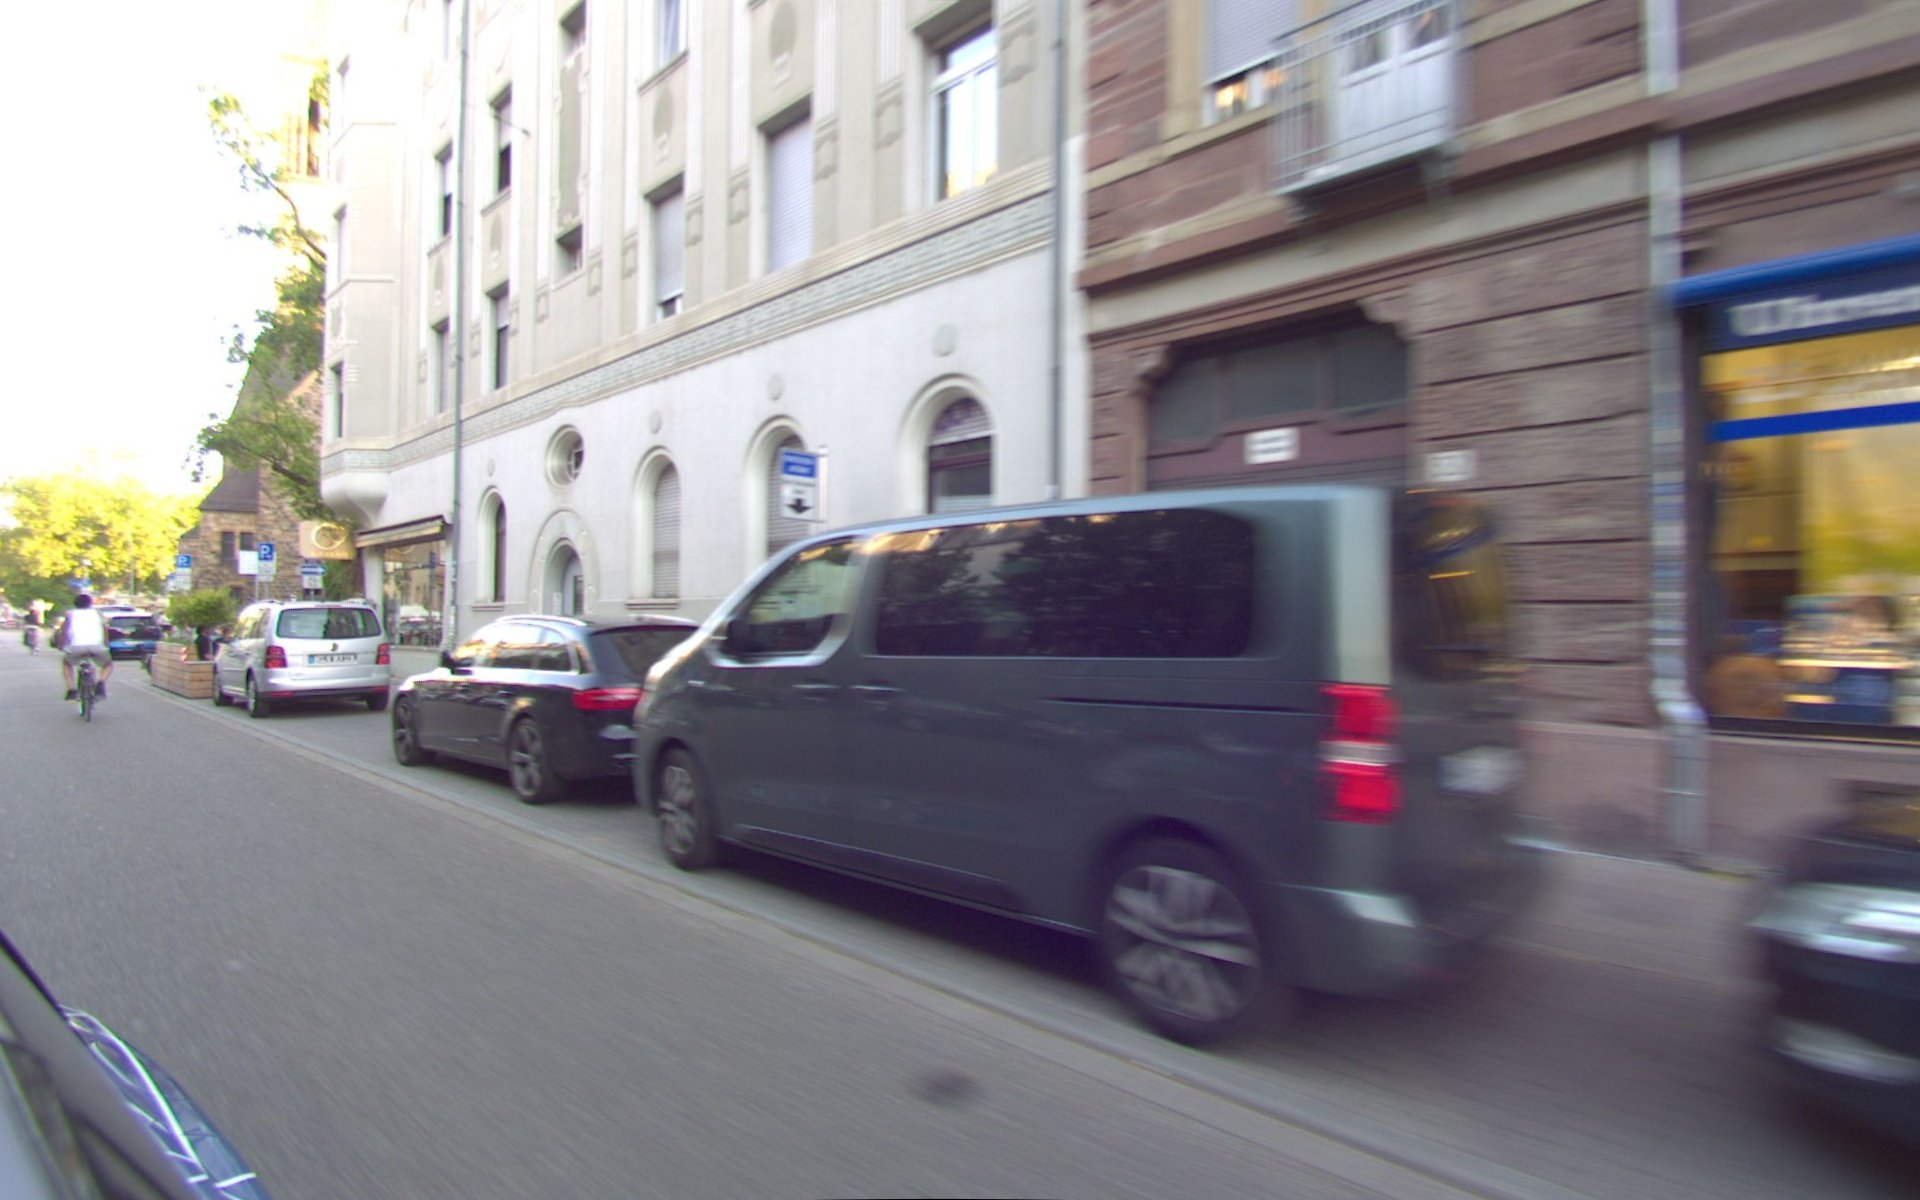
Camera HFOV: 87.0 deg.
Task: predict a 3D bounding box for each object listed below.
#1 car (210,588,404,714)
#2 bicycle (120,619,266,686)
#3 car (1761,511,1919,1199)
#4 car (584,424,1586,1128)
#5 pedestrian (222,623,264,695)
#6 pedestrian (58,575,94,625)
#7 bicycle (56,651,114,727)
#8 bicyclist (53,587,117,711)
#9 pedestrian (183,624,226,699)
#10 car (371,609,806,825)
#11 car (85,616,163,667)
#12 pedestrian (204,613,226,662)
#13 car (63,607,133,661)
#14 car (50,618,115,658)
[{"bbox_3d":[-10.015,0.705,15.394,1.706,1.660,3.919,0,-1,-45],"label":"car"},{"bbox_3d":[-17.285,1.162,22.888,2.579,1.409,0.603,0,0,-32],"label":"bicycle"},{"bbox_3d":[3.940,0.595,1.587,1.904,1.608,3.973,1,-2,-43],"label":"car"},{"bbox_3d":[0.121,0.519,5.143,4.907,1.897,1.905,-1,-2,44],"label":"car"},{"bbox_3d":[-13.696,1.110,19.333,0.496,1.333,0.563,-1,0,44],"label":"pedestrian"},{"bbox_3d":[-49.012,0.000,56.102,1.012,2.761,1.425,-1,0,44],"label":"pedestrian"},{"bbox_3d":[-12.558,1.238,14.503,1.896,0.951,0.470,0,0,44],"label":"bicycle"},{"bbox_3d":[-12.509,0.677,14.460,1.004,1.705,0.615,-1,0,44],"label":"bicyclist"},{"bbox_3d":[-13.799,1.109,18.486,0.496,1.333,0.563,-1,0,44],"label":"pedestrian"},{"bbox_3d":[-3.502,0.830,9.033,4.483,1.441,1.905,-1,-2,44],"label":"car"},{"bbox_3d":[-28.108,1.333,33.994,1.760,1.558,4.004,0,0,-43],"label":"car"},{"bbox_3d":[-25.098,1.241,34.078,0.563,1.618,0.501,-1,0,44],"label":"pedestrian"},{"bbox_3d":[-31.829,1.193,37.321,1.760,1.885,4.461,0,0,-43],"label":"car"},{"bbox_3d":[-36.934,1.557,42.583,4.001,1.558,1.761,0,0,44],"label":"car"}]
